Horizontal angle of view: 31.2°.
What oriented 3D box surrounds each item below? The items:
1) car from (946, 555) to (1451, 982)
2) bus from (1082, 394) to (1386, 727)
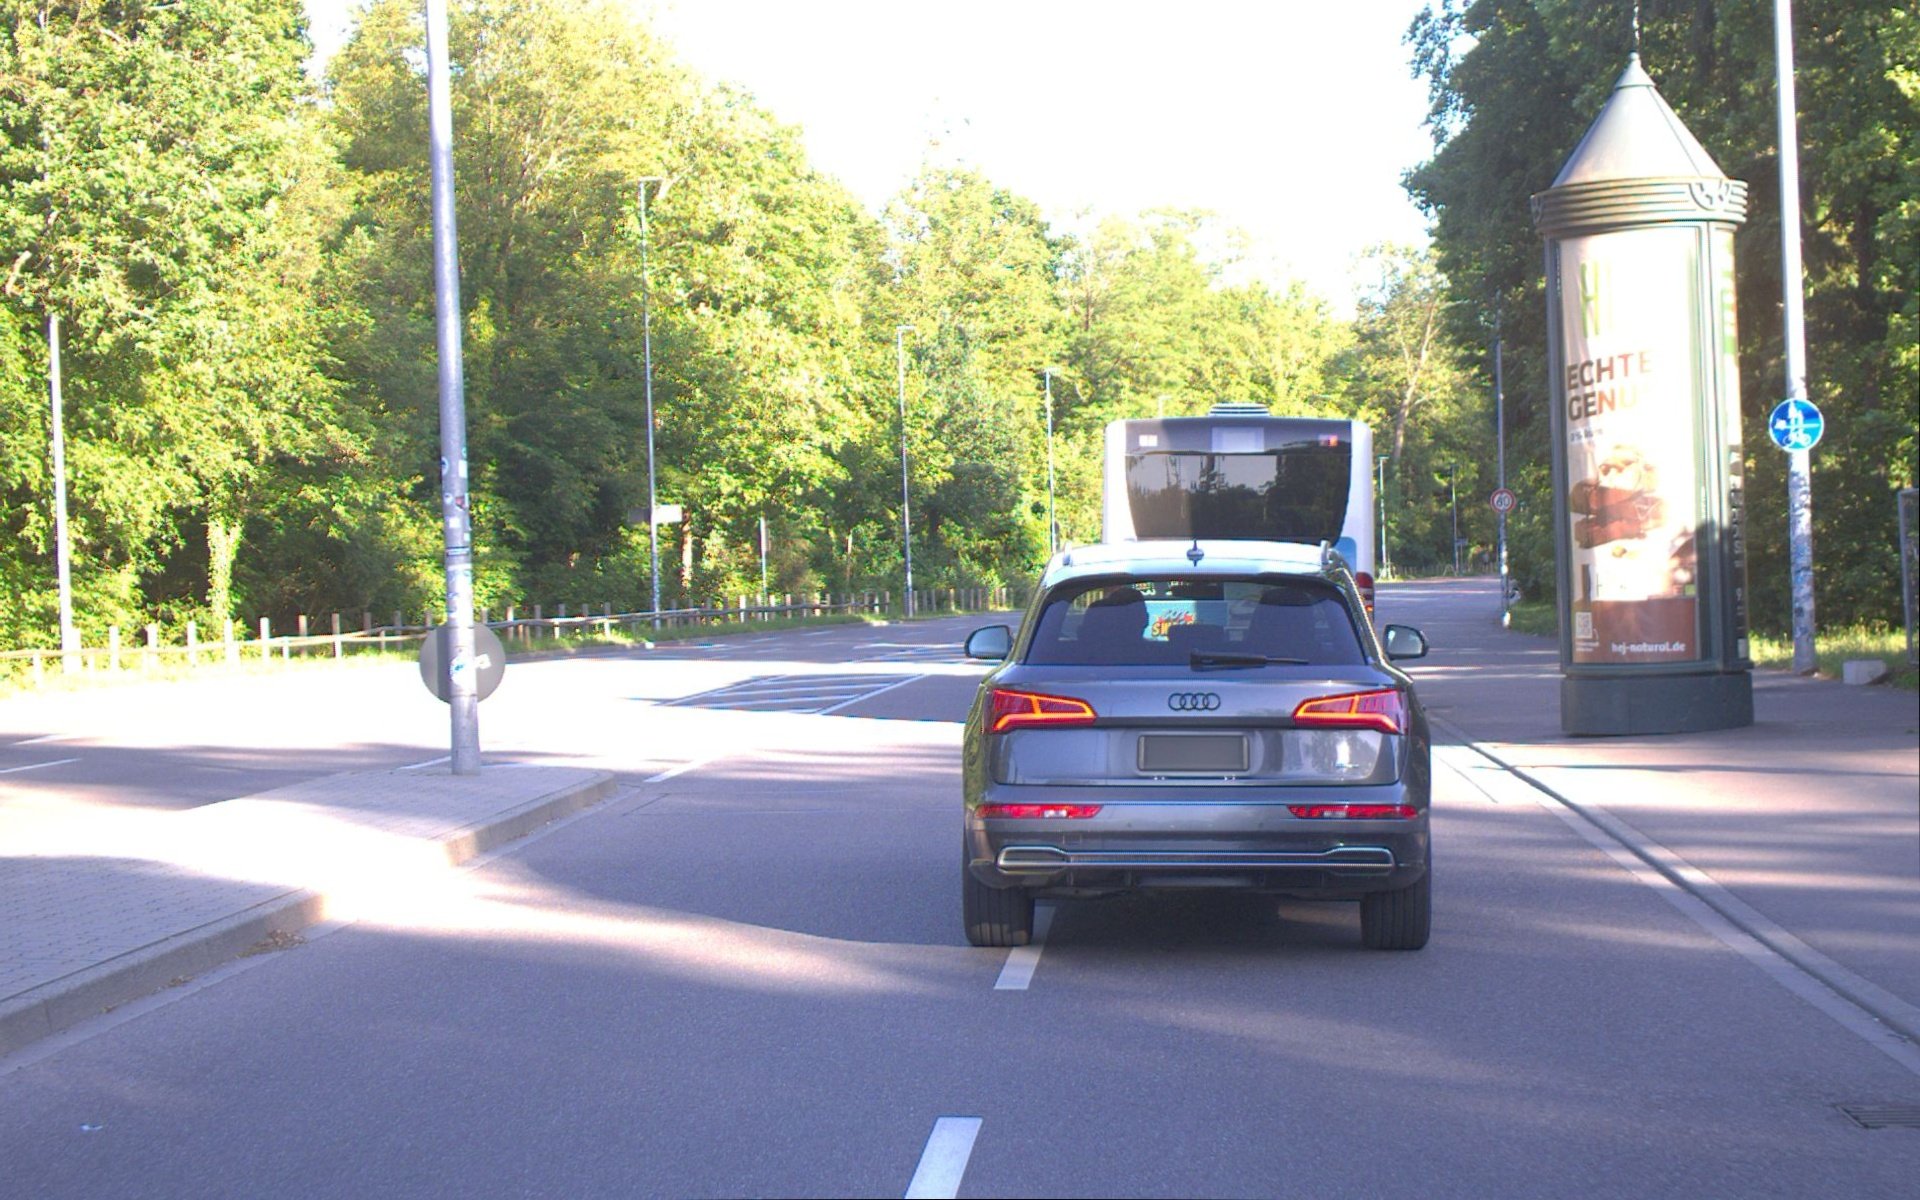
[{"bbox_3d":[0.961,0.607,15.189,1.893,1.600,4.544,0,1,2],"label":"car"},{"bbox_3d":[2.711,-0.400,37.394,2.690,3.032,12.040,0,0,2],"label":"bus"}]
